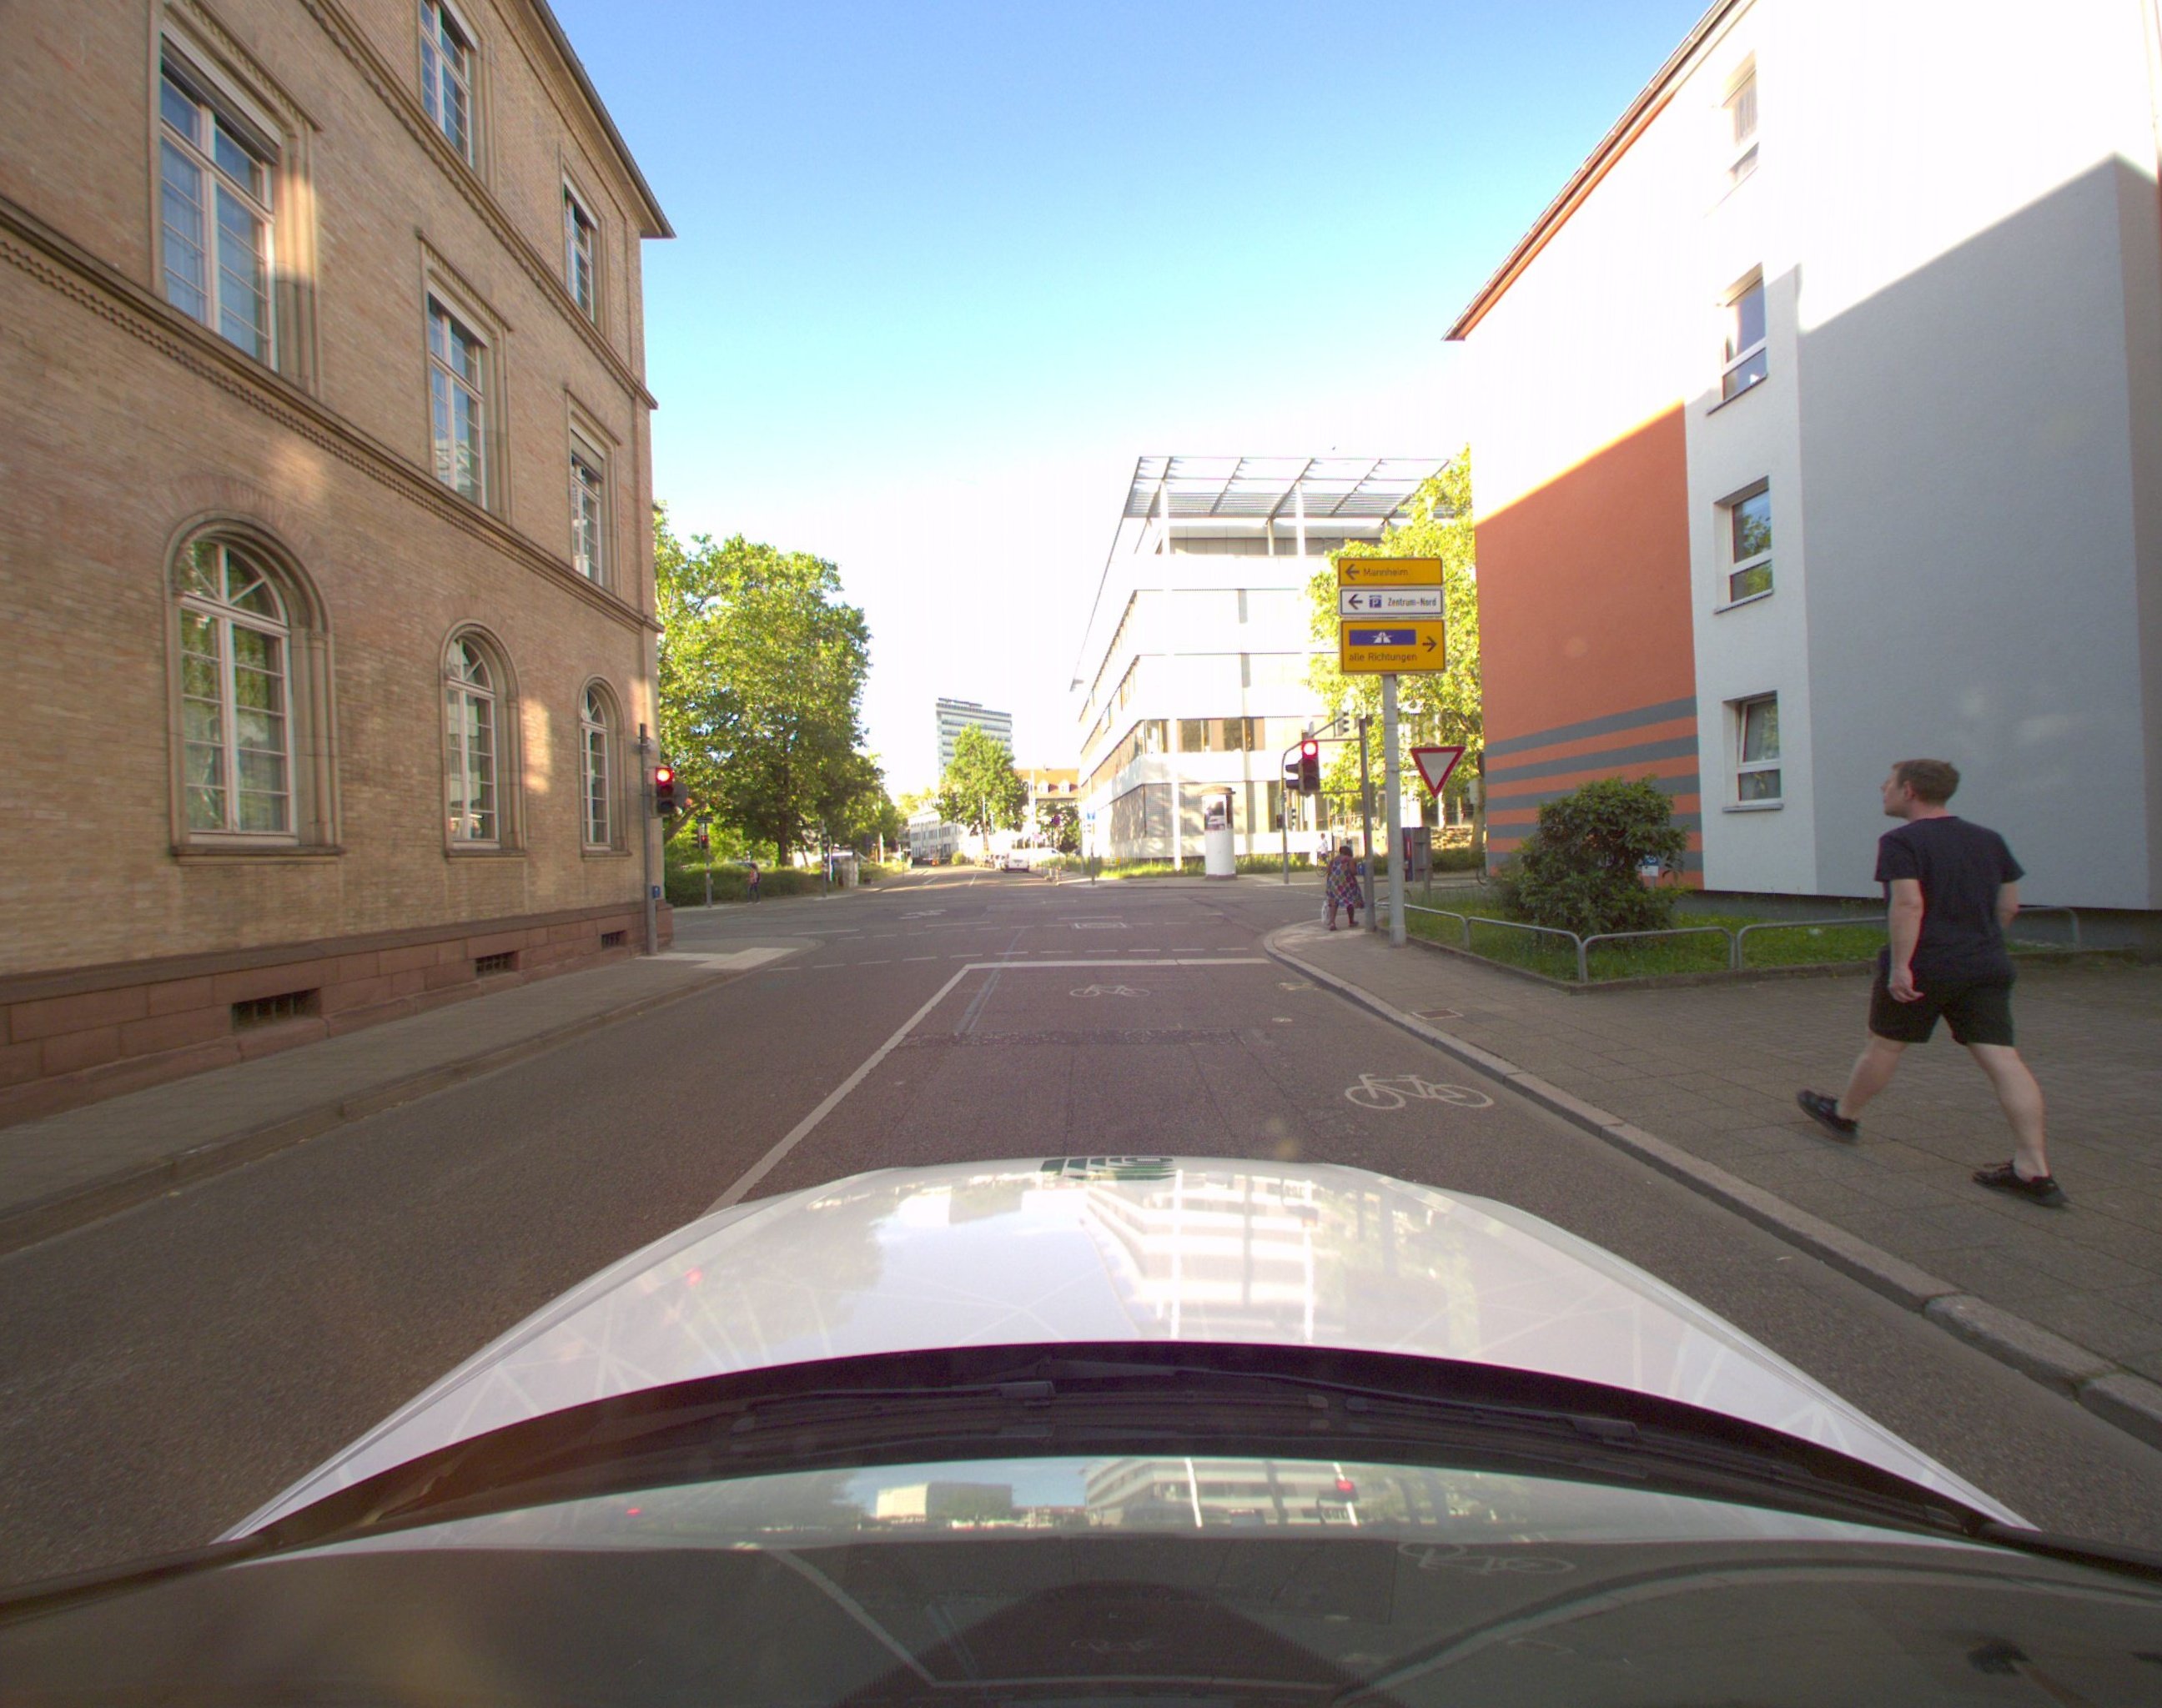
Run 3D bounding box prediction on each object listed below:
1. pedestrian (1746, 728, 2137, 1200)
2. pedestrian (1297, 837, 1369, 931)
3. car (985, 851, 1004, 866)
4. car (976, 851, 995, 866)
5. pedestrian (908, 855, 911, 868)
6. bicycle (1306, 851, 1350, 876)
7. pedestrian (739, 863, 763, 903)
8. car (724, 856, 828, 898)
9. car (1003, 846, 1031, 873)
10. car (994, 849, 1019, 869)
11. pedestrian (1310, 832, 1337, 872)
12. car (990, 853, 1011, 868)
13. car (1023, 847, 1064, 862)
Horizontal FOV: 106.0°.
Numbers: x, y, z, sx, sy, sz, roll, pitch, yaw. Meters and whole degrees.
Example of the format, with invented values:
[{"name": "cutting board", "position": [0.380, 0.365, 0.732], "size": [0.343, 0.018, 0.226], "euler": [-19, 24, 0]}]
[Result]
[{"name": "pedestrian", "position": [3.718, 0.430, 3.629], "size": [0.641, 1.788, 0.917], "euler": [-5, 0, 4]}, {"name": "pedestrian", "position": [4.506, 0.532, 14.567], "size": [0.945, 1.573, 0.755], "euler": [-5, 0, 30]}, {"name": "car", "position": [-9.198, 0.497, 86.241], "size": [1.704, 1.464, 4.225], "euler": [-2, 0, -9]}, {"name": "car", "position": [-11.305, 0.498, 96.122], "size": [2.100, 1.658, 4.461], "euler": [-2, 0, -9]}, {"name": "pedestrian", "position": [-20.606, 0.937, 97.843], "size": [0.380, 1.534, 0.444], "euler": [-2, 0, -10]}, {"name": "bicycle", "position": [10.905, 0.433, 35.994], "size": [0.467, 1.049, 1.893], "euler": [-2, 0, -40]}, {"name": "pedestrian", "position": [-13.661, 1.208, 33.678], "size": [0.718, 1.599, 0.610], "euler": [-2, 0, -39]}, {"name": "car", "position": [-14.397, 1.071, 38.636], "size": [4.219, 1.777, 1.901], "euler": [-2, 0, -7]}, {"name": "car", "position": [-5.126, 0.421, 64.932], "size": [2.065, 1.963, 4.228], "euler": [-2, 0, -7]}, {"name": "car", "position": [-7.070, 0.483, 76.769], "size": [1.947, 1.795, 4.223], "euler": [-2, 0, -11]}, {"name": "pedestrian", "position": [11.378, -0.093, 38.279], "size": [0.542, 1.831, 1.028], "euler": [-2, 0, -40]}, {"name": "car", "position": [-8.098, 0.619, 81.701], "size": [1.705, 1.424, 4.221], "euler": [-2, 0, -11]}, {"name": "car", "position": [-4.734, 0.086, 103.106], "size": [4.889, 1.872, 1.990], "euler": [-1, -1, -15]}]
